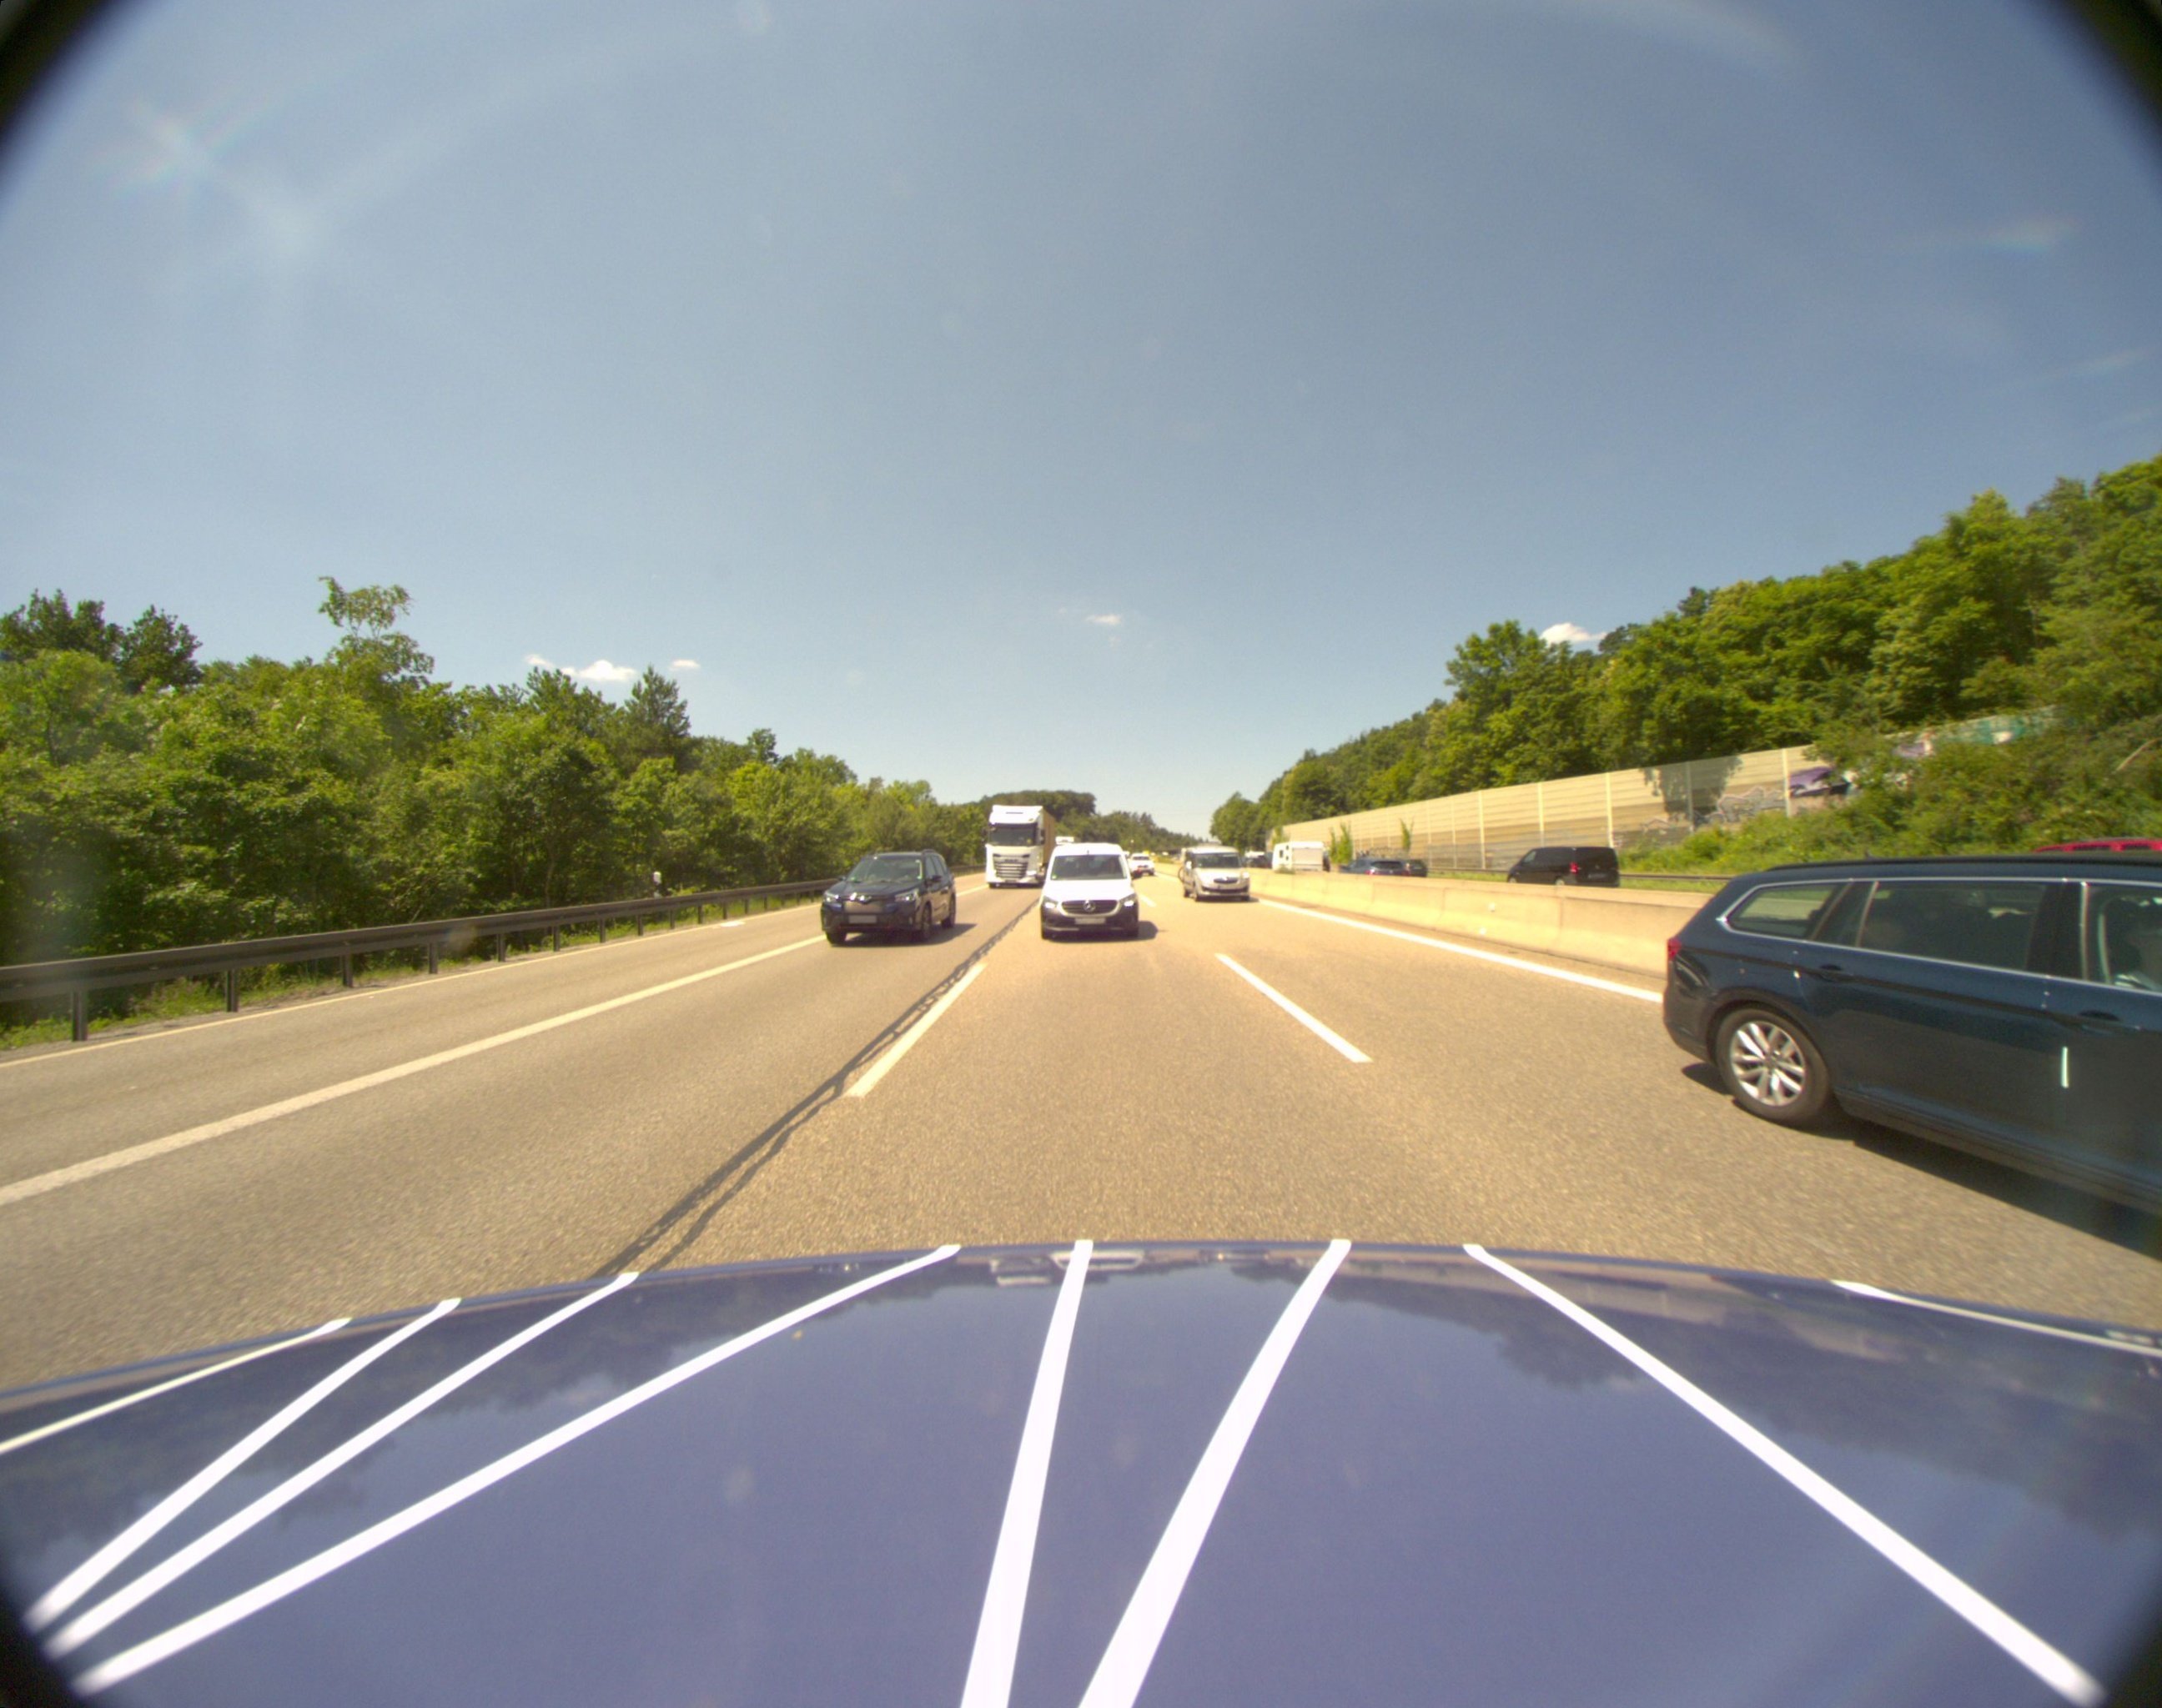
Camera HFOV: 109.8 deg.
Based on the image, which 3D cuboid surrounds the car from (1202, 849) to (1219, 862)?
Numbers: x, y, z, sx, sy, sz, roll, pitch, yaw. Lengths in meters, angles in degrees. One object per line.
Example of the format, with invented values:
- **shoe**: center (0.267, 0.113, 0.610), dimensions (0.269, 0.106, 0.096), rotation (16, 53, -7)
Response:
- **car**: center (17.408, 0.205, 102.208), dimensions (1.697, 1.673, 4.196), rotation (-1, 0, 1)

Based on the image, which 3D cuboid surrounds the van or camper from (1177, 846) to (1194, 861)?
- **van or camper**: center (18.955, -0.142, 138.456), dimensions (2.275, 2.720, 6.805), rotation (0, 1, 1)

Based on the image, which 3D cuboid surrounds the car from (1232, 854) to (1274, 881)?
- **car**: center (12.088, 0.919, 53.695), dimensions (1.952, 1.791, 4.693), rotation (0, 1, 1)

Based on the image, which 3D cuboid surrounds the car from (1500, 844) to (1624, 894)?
- **car**: center (18.872, 0.536, 30.113), dimensions (1.738, 1.799, 4.863), rotation (0, 0, -1)

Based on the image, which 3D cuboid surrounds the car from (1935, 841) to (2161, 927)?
- **car**: center (22.565, 0.584, 17.115), dimensions (1.680, 1.741, 4.376), rotation (0, 1, 0)

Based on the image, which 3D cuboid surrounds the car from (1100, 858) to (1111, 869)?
- **car**: center (4.358, 1.715, 136.706), dimensions (1.902, 2.002, 4.000), rotation (0, 0, 2)

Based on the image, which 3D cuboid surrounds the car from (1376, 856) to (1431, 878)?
- **car**: center (22.577, 0.895, 53.434), dimensions (1.952, 1.427, 4.693), rotation (0, 1, 1)

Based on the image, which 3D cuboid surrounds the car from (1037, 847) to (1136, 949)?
- **car**: center (0.196, 0.741, 15.362), dimensions (1.729, 1.760, 4.313), rotation (0, 1, 3)

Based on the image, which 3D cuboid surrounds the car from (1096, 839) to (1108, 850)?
- **car**: center (5.010, -2.250, 184.766), dimensions (2.721, 2.534, 5.941), rotation (0, 1, 3)

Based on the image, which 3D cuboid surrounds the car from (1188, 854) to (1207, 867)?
- **car**: center (13.118, 0.730, 85.737), dimensions (1.618, 1.368, 4.270), rotation (0, 0, 1)

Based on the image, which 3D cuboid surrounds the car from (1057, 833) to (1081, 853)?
- **car**: center (-1.548, -1.461, 99.477), dimensions (2.721, 2.534, 5.941), rotation (0, 1, 3)

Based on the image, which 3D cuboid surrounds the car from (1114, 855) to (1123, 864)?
- **car**: center (8.619, 1.276, 173.817), dimensions (1.998, 2.002, 4.001), rotation (0, 0, 3)

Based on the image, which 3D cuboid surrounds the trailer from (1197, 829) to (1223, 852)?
- **trailer**: center (23.330, -2.458, 138.194), dimensions (2.819, 3.886, 13.827), rotation (0, 1, 2)

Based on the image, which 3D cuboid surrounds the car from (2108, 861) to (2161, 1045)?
- **car**: center (11.546, 0.995, 5.794), dimensions (1.998, 1.783, 3.999), rotation (0, 1, 1)

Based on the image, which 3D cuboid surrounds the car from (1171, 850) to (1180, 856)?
- **car**: center (26.707, -0.274, 214.727), dimensions (1.926, 1.856, 5.304), rotation (-1, 0, 1)

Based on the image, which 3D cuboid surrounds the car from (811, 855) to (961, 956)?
- **car**: center (-3.686, 0.888, 15.147), dimensions (1.816, 1.658, 4.203), rotation (0, 1, 1)

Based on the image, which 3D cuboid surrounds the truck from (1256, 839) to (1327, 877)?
- **truck**: center (16.174, 0.198, 59.415), dimensions (2.534, 2.673, 11.627), rotation (0, 1, 1)

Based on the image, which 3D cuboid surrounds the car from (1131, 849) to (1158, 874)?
- **car**: center (4.813, 0.529, 58.104), dimensions (1.998, 1.827, 4.001), rotation (0, 0, 4)

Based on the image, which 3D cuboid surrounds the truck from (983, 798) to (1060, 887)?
- **truck**: center (-2.989, -0.544, 43.549), dimensions (2.790, 4.144, 16.268), rotation (0, 0, 1)

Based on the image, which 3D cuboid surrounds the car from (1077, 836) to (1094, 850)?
- **car**: center (0.898, -2.013, 141.304), dimensions (2.721, 2.534, 5.941), rotation (0, 1, 3)

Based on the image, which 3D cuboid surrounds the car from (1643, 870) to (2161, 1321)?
- **car**: center (4.415, 0.822, 2.472), dimensions (1.737, 1.419, 4.730), rotation (0, 0, 1)

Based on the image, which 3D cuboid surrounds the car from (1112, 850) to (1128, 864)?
- **car**: center (5.275, 0.407, 102.262), dimensions (1.998, 1.783, 4.000), rotation (-1, 0, 1)

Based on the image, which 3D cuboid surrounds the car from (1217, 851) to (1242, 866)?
- **car**: center (17.043, 0.464, 87.244), dimensions (1.930, 1.630, 4.928), rotation (-1, 0, 1)

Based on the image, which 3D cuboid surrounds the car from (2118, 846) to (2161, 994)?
- **car**: center (15.104, 0.889, 7.944), dimensions (1.999, 1.938, 4.748), rotation (0, 1, 0)

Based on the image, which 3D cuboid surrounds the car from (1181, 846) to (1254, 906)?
- **car**: center (4.507, 0.678, 25.599), dimensions (1.780, 1.833, 4.000), rotation (0, 0, 1)

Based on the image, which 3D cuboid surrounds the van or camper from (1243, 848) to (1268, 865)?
- **van or camper**: center (20.183, 0.296, 88.115), dimensions (2.081, 1.965, 3.705), rotation (0, 0, 1)

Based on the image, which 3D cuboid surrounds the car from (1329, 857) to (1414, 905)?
- **car**: center (11.523, 1.010, 30.451), dimensions (1.777, 1.761, 4.183), rotation (0, 0, -1)

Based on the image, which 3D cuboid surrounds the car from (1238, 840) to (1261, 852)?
- **car**: center (20.767, -0.967, 93.852), dimensions (1.805, 1.339, 4.723), rotation (0, 0, 1)
